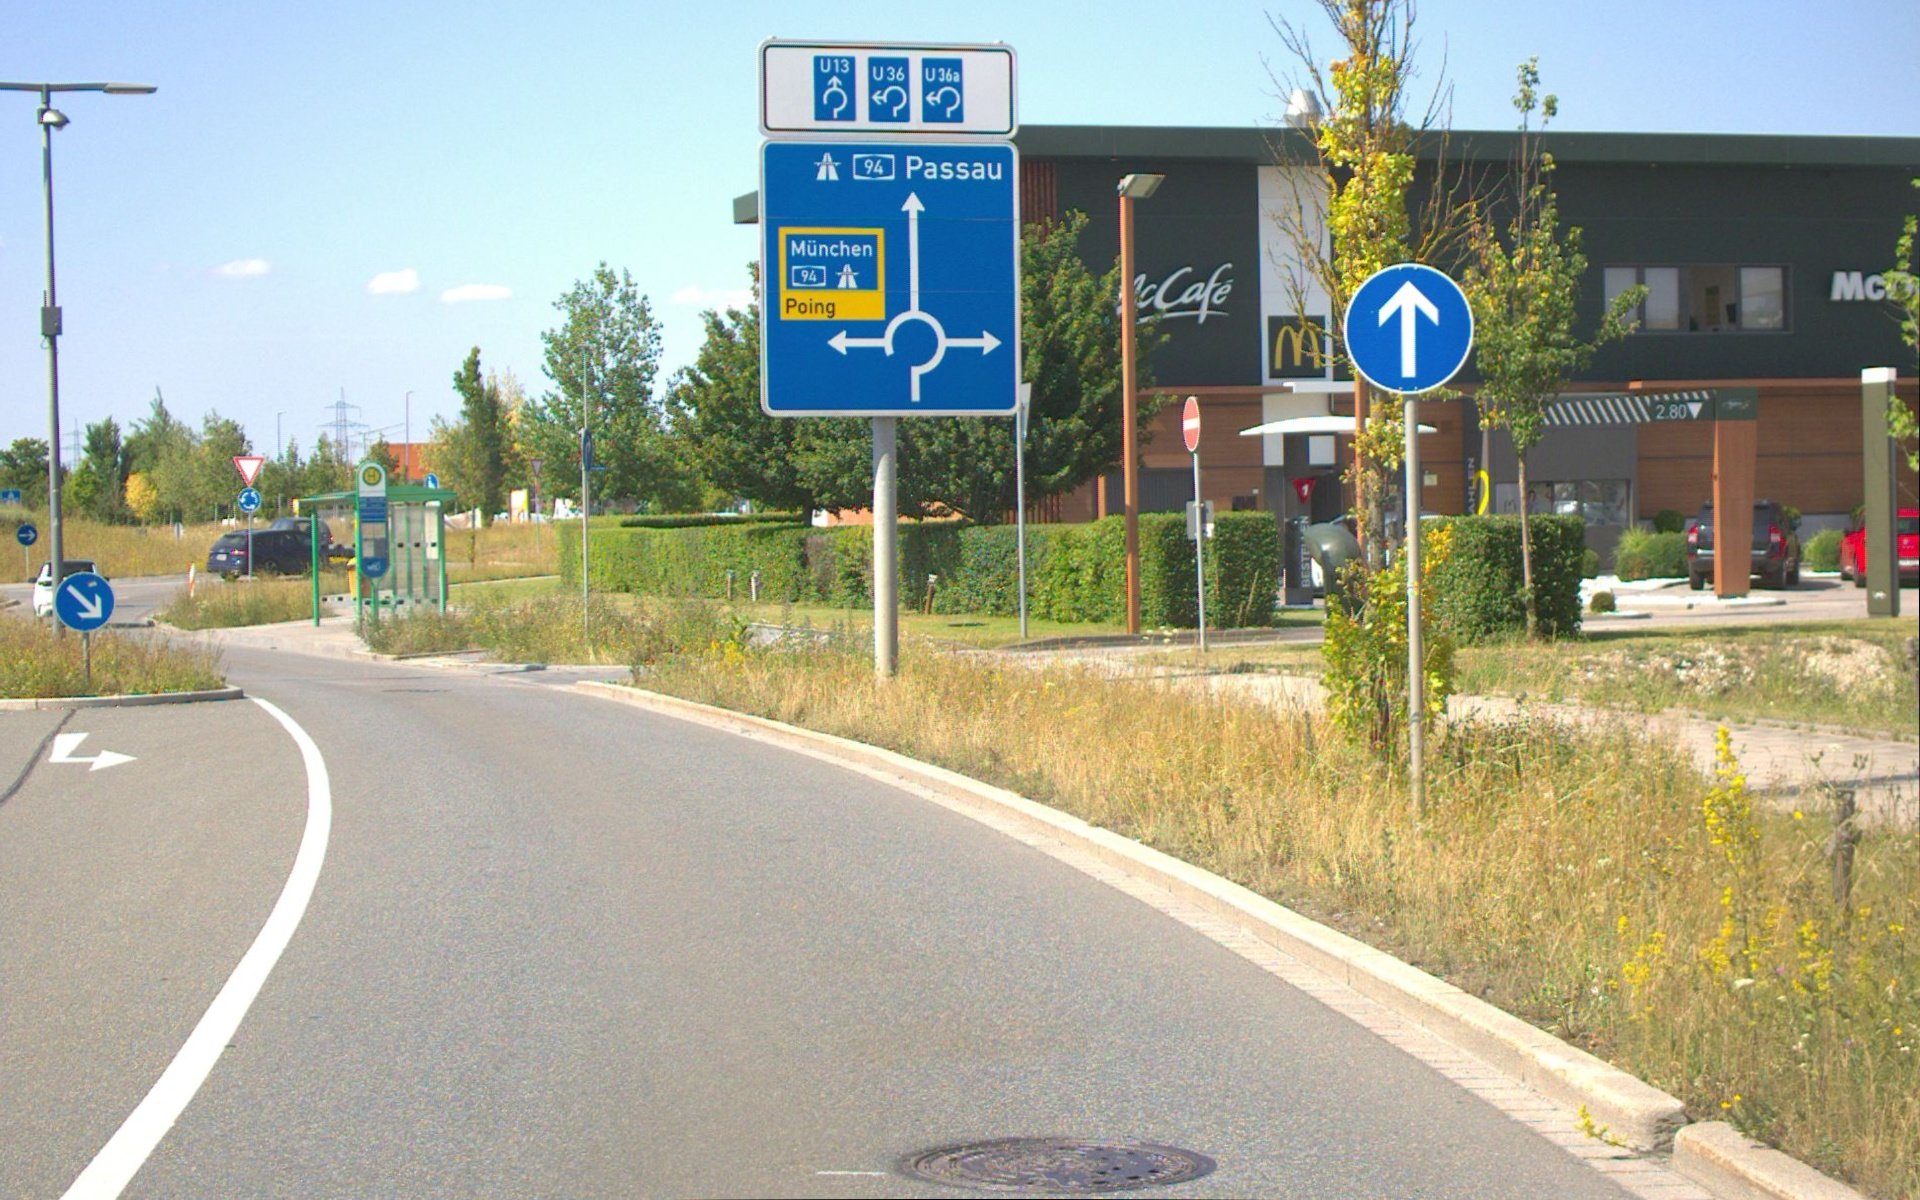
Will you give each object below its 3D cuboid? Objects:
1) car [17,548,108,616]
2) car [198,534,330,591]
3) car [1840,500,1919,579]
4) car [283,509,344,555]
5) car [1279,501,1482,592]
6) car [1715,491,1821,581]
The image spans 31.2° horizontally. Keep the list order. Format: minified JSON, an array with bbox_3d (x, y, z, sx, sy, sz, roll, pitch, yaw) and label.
[{"bbox_3d":[-19.793,-0.421,75.751,1.616,1.429,3.793,-1,1,-19],"label":"car"},{"bbox_3d":[-19.301,-1.051,95.475,1.769,1.512,3.795,-1,1,22],"label":"car"},{"bbox_3d":[17.775,-1.176,65.347,1.793,1.429,3.998,-1,1,12],"label":"car"},{"bbox_3d":[-20.829,-2.193,110.860,1.616,1.429,3.793,-1,1,-6],"label":"car"},{"bbox_3d":[7.069,-0.903,58.172,1.792,1.429,4.001,-2,1,-19],"label":"car"},{"bbox_3d":[15.165,-1.217,64.636,1.793,1.599,3.998,-1,1,12],"label":"car"}]
